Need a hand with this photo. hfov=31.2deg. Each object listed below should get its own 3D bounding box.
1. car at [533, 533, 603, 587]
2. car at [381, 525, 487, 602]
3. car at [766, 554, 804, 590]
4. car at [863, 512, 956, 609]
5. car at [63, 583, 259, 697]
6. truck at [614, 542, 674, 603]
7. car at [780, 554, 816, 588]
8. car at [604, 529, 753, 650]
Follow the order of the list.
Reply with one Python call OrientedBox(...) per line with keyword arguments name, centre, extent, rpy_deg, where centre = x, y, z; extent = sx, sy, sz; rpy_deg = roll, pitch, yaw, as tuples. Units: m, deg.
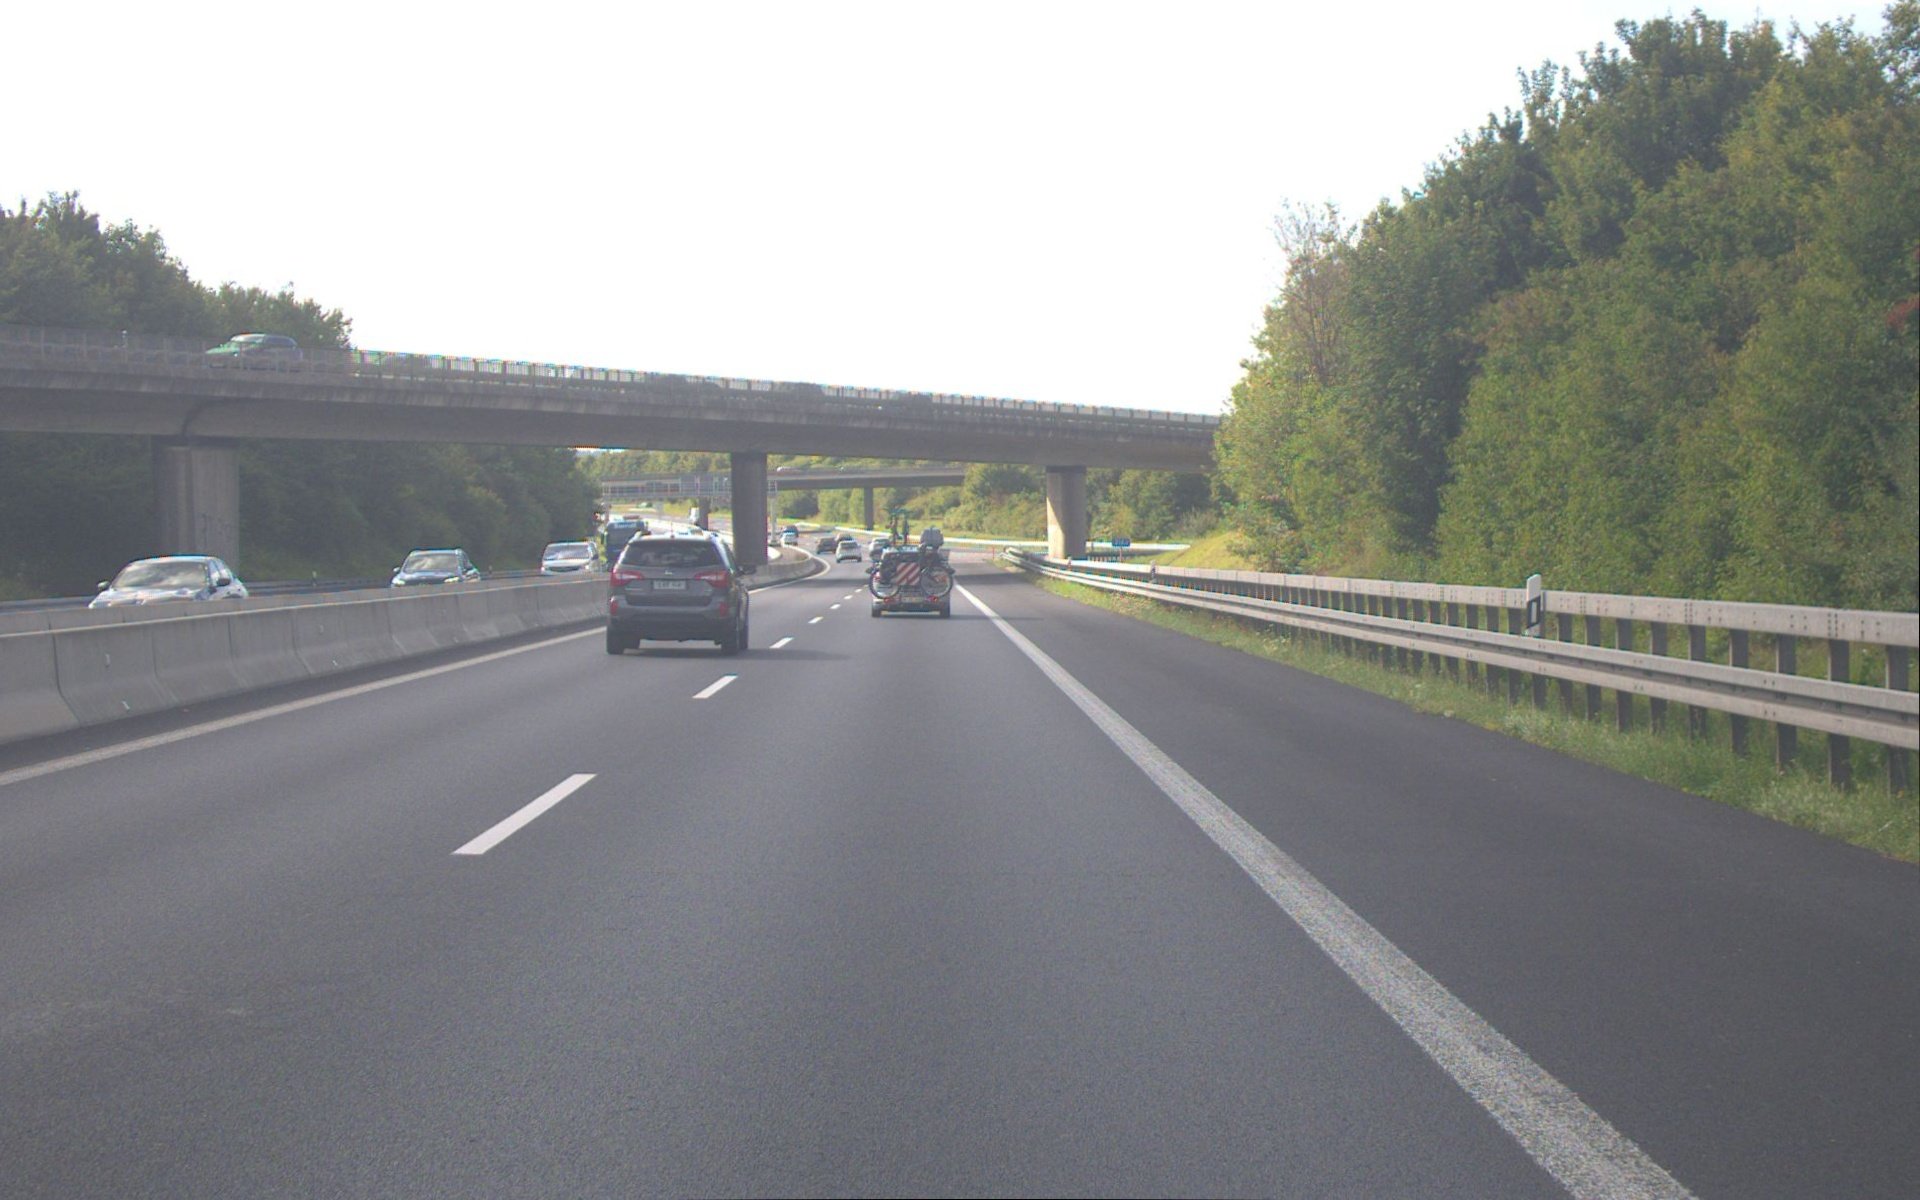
OrientedBox(name="car", centre=(-14.190, -1.456, 124.697), extent=(1.993, 1.890, 5.189), rpy_deg=(-2, 1, -1))
OrientedBox(name="car", centre=(-13.661, -0.966, 89.494), extent=(1.993, 1.890, 5.141), rpy_deg=(-2, 1, -1))
OrientedBox(name="car", centre=(-10.161, -1.636, 199.514), extent=(1.993, 2.007, 4.000), rpy_deg=(-2, 1, -1))
OrientedBox(name="car", centre=(-1.115, -0.897, 77.449), extent=(1.993, 2.073, 4.000), rpy_deg=(-2, 1, 0))
OrientedBox(name="car", centre=(-12.867, 0.607, 55.715), extent=(1.993, 1.642, 5.196), rpy_deg=(-2, 1, -1))
OrientedBox(name="truck", centre=(-18.710, -1.669, 204.017), extent=(2.675, 3.434, 9.829), rpy_deg=(-2, 1, -1))
OrientedBox(name="car", centre=(-9.900, -1.811, 210.539), extent=(1.993, 2.007, 4.000), rpy_deg=(-2, 1, -1))
OrientedBox(name="car", centre=(-4.012, -0.175, 49.456), extent=(1.750, 1.624, 3.609), rpy_deg=(-2, 1, 1))
